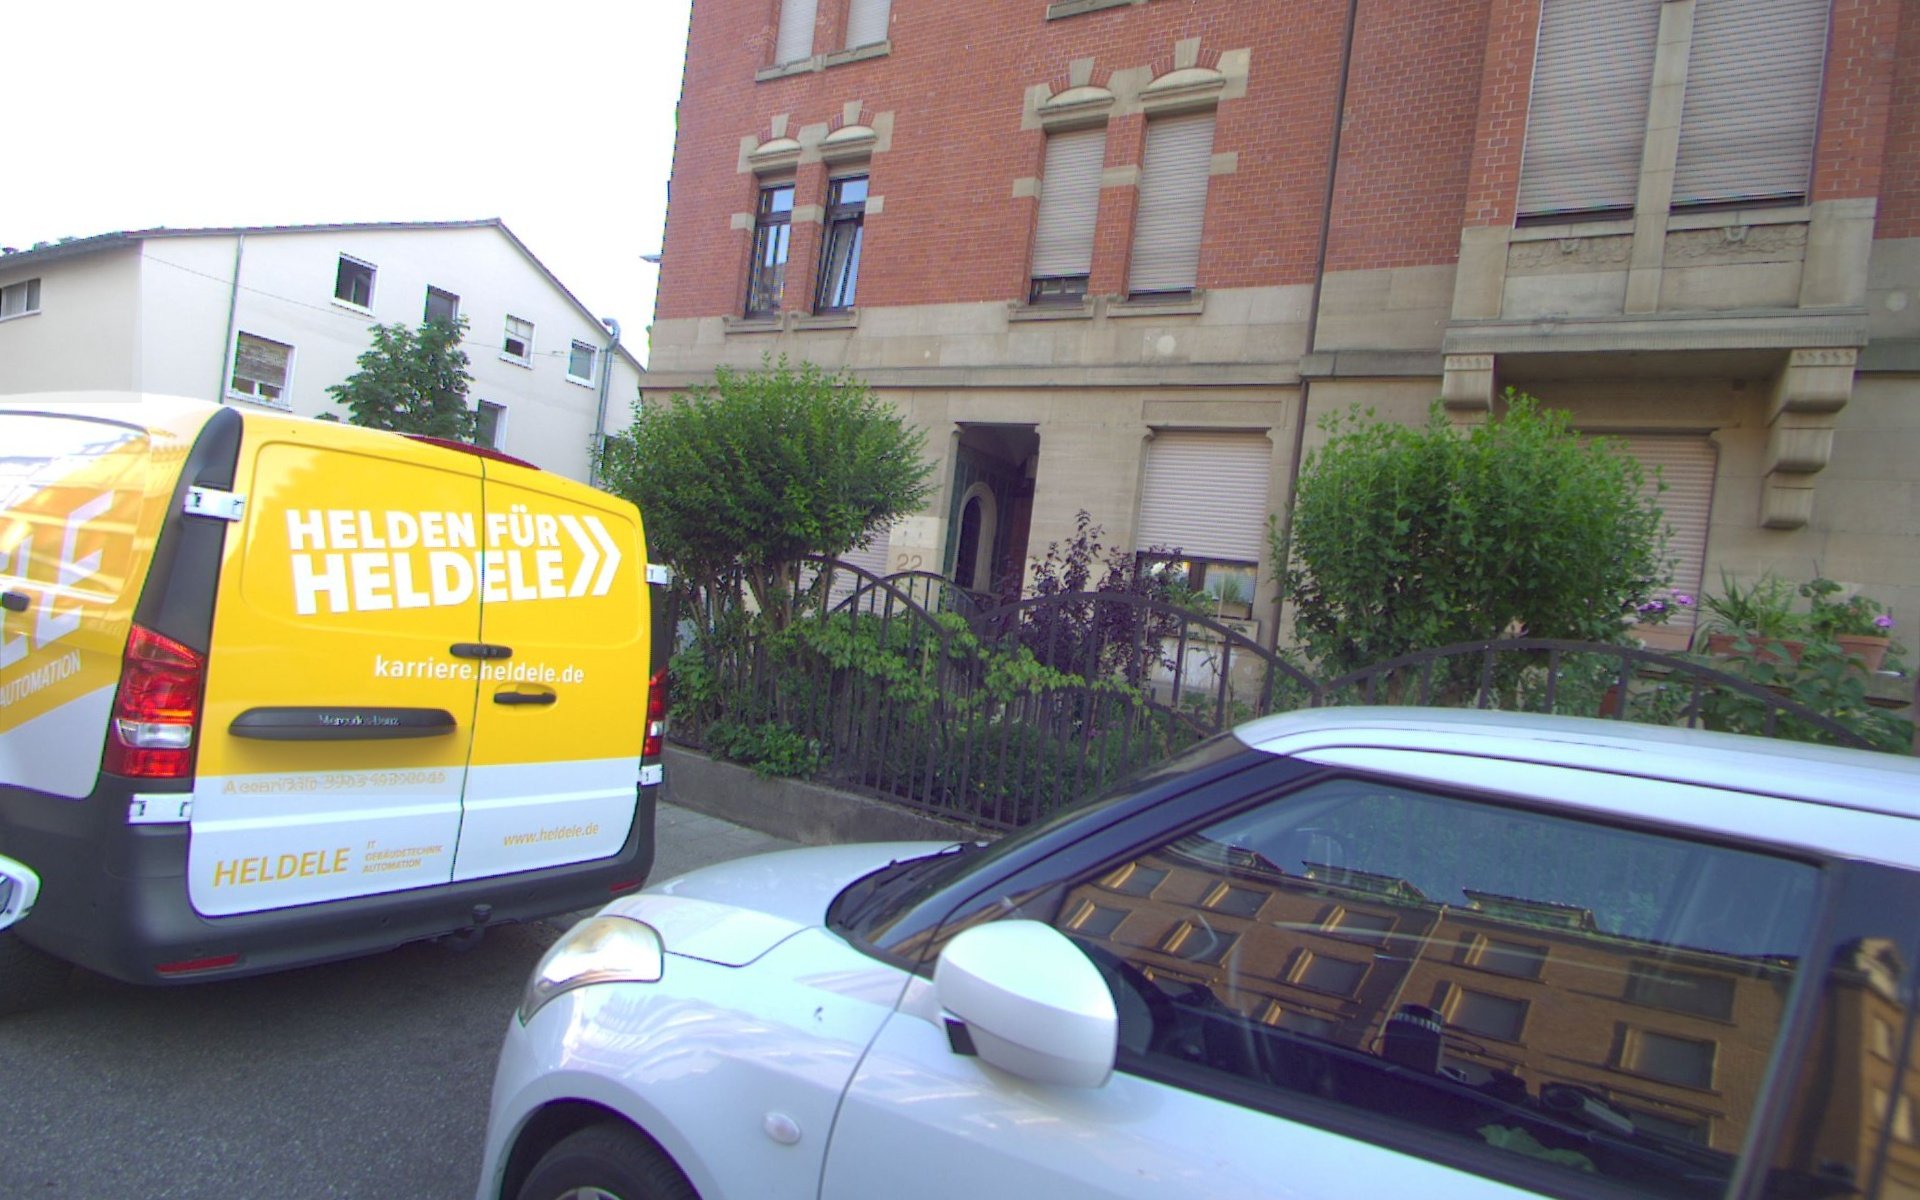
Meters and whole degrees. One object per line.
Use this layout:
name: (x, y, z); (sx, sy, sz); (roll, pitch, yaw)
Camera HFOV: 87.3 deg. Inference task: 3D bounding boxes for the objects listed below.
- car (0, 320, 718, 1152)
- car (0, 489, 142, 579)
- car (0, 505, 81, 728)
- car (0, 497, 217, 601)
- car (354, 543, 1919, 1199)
car: (-3.663, 0.140, 4.389); (4.996, 1.906, 1.897); (7, -1, 31)
car: (-19.664, -1.466, 20.636); (1.727, 1.533, 4.054); (9, 1, 32)
car: (-8.274, -0.156, 7.170); (4.182, 1.440, 1.725); (7, -2, 31)
car: (-16.005, -0.937, 18.008); (1.628, 1.473, 3.937); (8, 0, 28)
car: (0.887, 0.898, 1.639); (3.799, 1.494, 1.677); (7, -1, 34)
